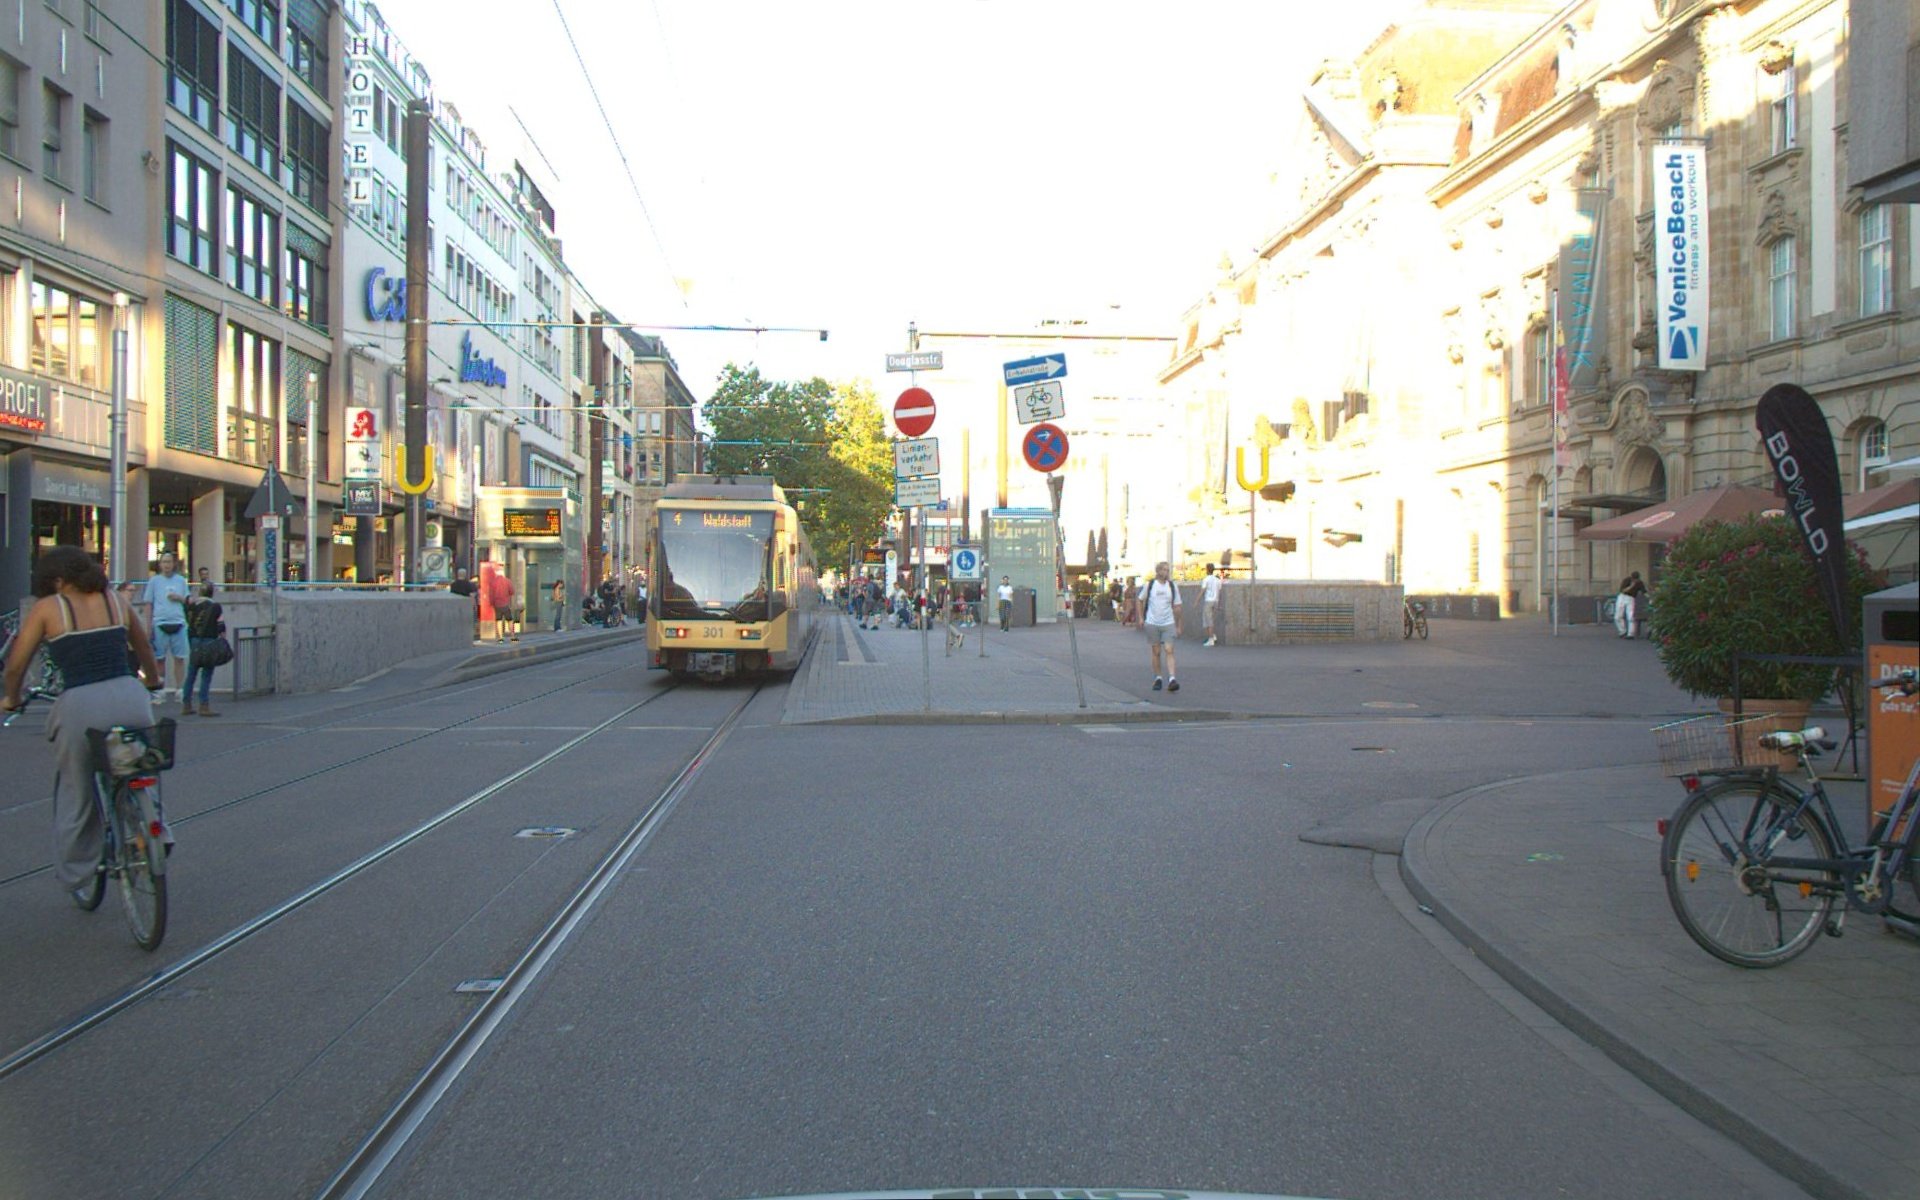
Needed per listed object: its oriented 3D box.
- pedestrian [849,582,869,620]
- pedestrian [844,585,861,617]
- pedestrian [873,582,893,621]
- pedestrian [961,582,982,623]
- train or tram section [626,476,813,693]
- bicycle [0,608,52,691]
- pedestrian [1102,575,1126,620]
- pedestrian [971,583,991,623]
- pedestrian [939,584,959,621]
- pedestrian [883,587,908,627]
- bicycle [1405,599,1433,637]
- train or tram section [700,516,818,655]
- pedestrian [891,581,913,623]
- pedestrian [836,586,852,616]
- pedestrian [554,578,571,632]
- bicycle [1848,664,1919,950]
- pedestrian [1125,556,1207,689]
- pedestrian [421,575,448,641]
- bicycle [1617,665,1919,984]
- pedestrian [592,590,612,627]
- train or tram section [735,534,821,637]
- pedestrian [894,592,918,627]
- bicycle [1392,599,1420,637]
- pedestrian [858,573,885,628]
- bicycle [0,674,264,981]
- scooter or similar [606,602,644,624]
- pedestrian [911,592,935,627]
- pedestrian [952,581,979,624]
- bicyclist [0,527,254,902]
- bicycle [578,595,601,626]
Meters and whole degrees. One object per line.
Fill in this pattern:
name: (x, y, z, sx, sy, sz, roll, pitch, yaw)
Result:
pedestrian: (-4.556, 0.051, 74.918, 0.750, 1.690, 0.795, 0, 0, 7)
pedestrian: (-5.806, 0.053, 89.394, 0.775, 1.690, 0.770, 0, 0, 7)
pedestrian: (-3.346, 0.055, 72.006, 0.775, 1.690, 0.770, 0, 0, 7)
pedestrian: (0.483, 0.102, 67.648, 0.775, 1.690, 0.770, 0, 0, 7)
train or tram section: (-4.391, -0.303, 33.094, 2.745, 3.377, 14.495, 0, 0, -4)
bicycle: (-13.877, 0.717, 23.905, 0.488, 1.127, 1.801, 0, 2, 1)
pedestrian: (6.357, -0.114, 68.284, 0.831, 1.855, 0.774, 0, 0, -6)
pedestrian: (0.898, 0.115, 71.233, 0.775, 1.690, 0.770, 0, 0, 7)
pedestrian: (-0.493, 0.103, 75.244, 0.775, 1.690, 0.770, 0, 0, 7)
pedestrian: (-2.594, 0.263, 66.749, 0.751, 1.606, 0.794, 0, 0, 25)
bicycle: (10.960, 0.435, 39.520, 0.309, 0.882, 0.999, -1, 0, -5)
train or tram section: (-5.511, -0.420, 47.565, 2.745, 3.377, 14.495, 0, 0, -4)
pedestrian: (-2.371, 0.060, 67.280, 0.775, 1.690, 0.770, 0, 0, 7)
pedestrian: (-6.644, 0.049, 94.800, 0.750, 1.690, 0.795, 0, 0, 5)
pedestrian: (-12.204, 0.151, 50.816, 0.502, 1.646, 0.503, 0, -1, -13)
bicycle: (4.750, 0.825, 6.857, 1.817, 1.128, 0.666, -1, 0, -7)
pedestrian: (3.012, 0.323, 24.271, 0.994, 1.896, 1.041, 1, 0, -5)
pedestrian: (-13.020, 0.204, 40.984, 0.593, 1.616, 0.626, 0, -1, -14)
bicycle: (3.678, 0.855, 6.648, 1.817, 1.128, 0.666, -1, 0, -7)
pedestrian: (-13.799, 0.322, 63.754, 0.693, 1.403, 0.719, 0, -1, -5)
train or tram section: (-6.637, -0.534, 62.021, 2.745, 3.377, 14.495, 0, 0, -4)
pedestrian: (-1.965, 0.342, 59.830, 0.777, 1.243, 0.768, 0, 0, -8)
bicycle: (10.641, 0.431, 39.492, 0.309, 0.882, 0.999, -1, 0, -5)
pedestrian: (-3.015, 0.024, 56.315, 0.722, 1.855, 0.815, 0, 0, -19)
bicycle: (-3.809, 0.911, 7.383, 0.809, 1.092, 2.086, 2, -1, -36)
scooter or similar: (-12.977, 0.507, 64.065, 0.547, 0.845, 1.521, -1, -1, 34)
pedestrian: (-1.317, 0.350, 59.075, 0.777, 1.243, 0.768, 0, 0, -8)
pedestrian: (0.213, 0.091, 64.354, 0.781, 1.690, 0.764, 0, 0, 45)
bicyclist: (-3.801, 0.479, 7.384, 0.989, 1.528, 0.845, 2, -1, -38)
bicycle: (-14.038, 0.400, 62.662, 0.428, 1.162, 1.603, 0, 0, -28)
